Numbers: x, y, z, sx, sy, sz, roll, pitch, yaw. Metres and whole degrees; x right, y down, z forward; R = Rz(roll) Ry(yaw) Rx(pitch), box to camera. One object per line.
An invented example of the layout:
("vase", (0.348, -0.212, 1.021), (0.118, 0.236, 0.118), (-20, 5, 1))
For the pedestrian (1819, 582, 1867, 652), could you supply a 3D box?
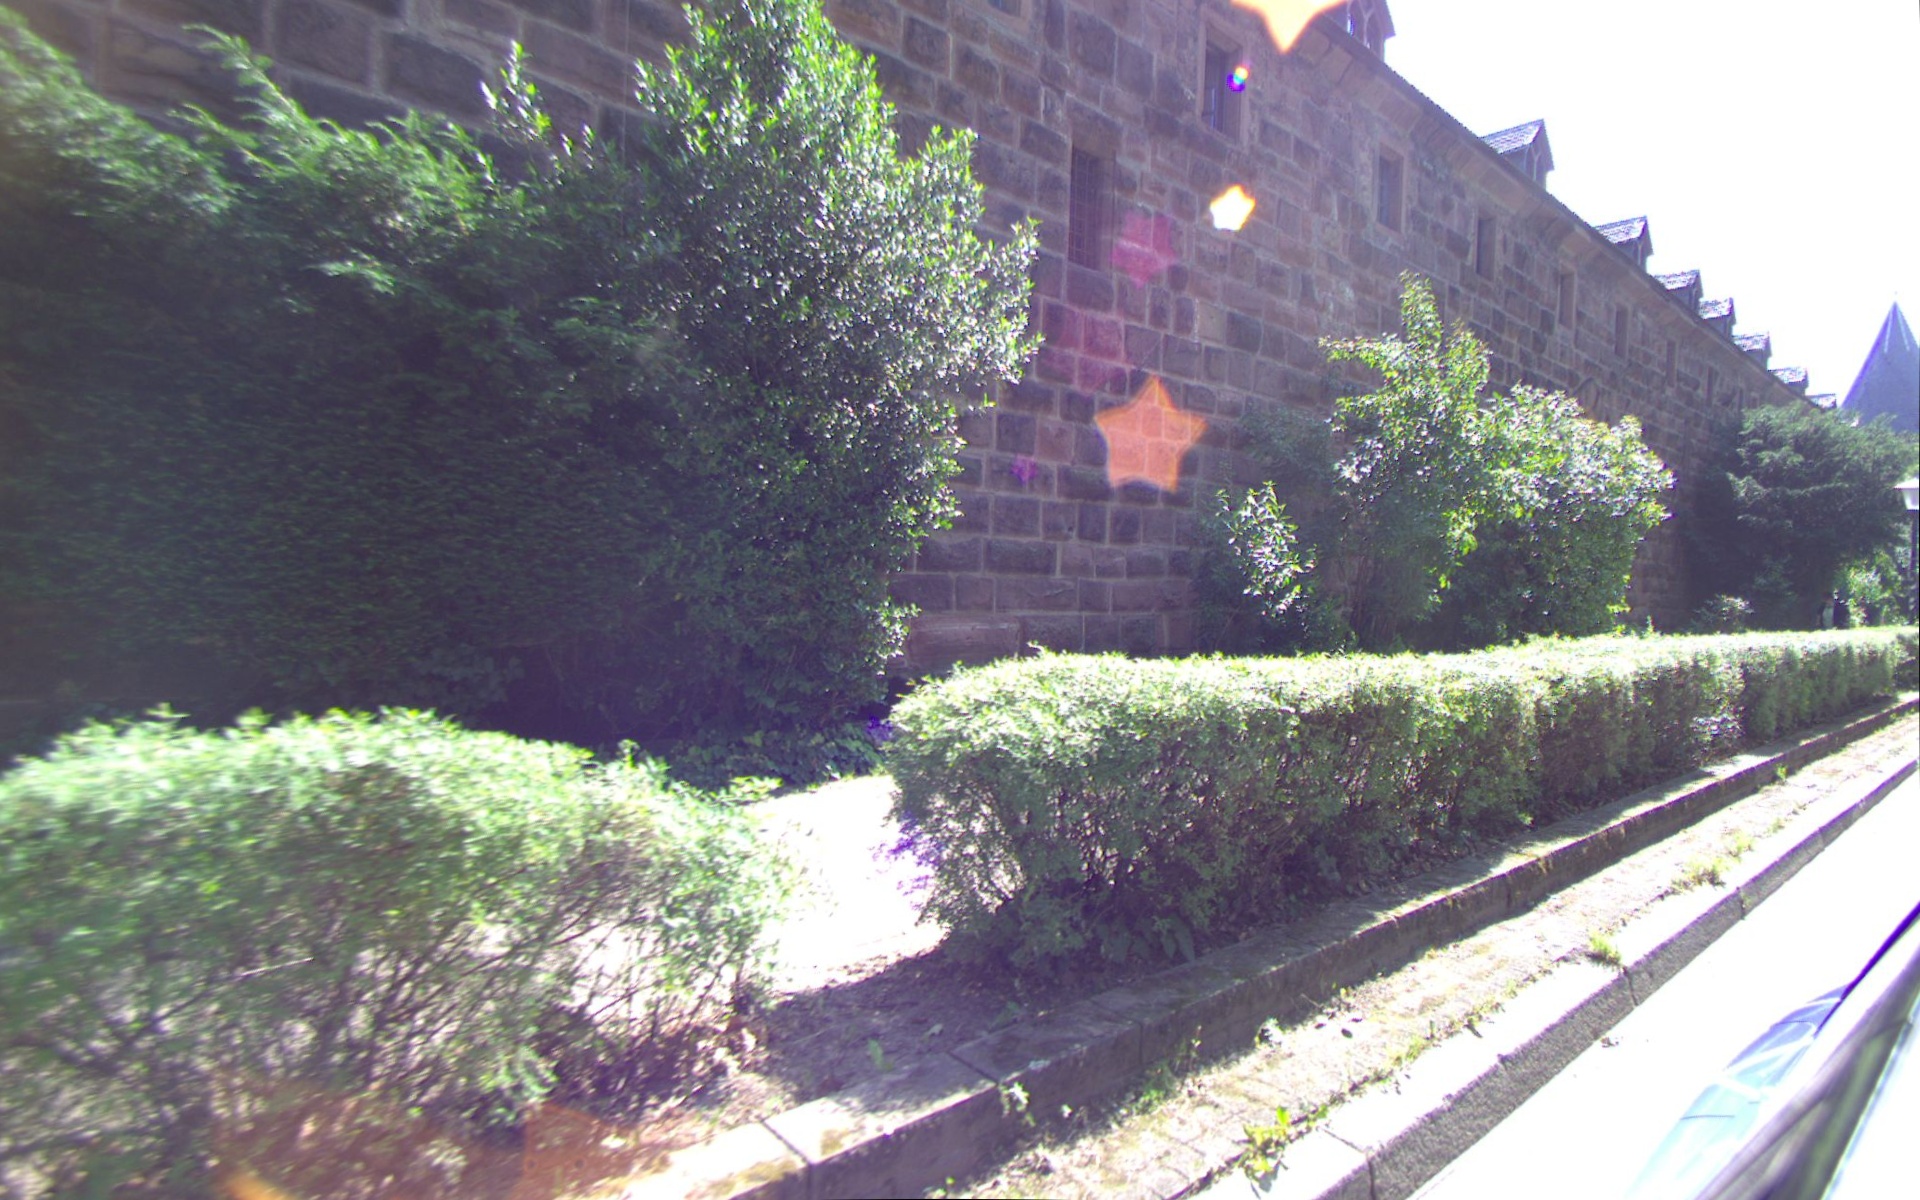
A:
("pedestrian", (21.942, 0.412, 25.146), (0.692, 1.673, 0.700), (1, 2, -38))
